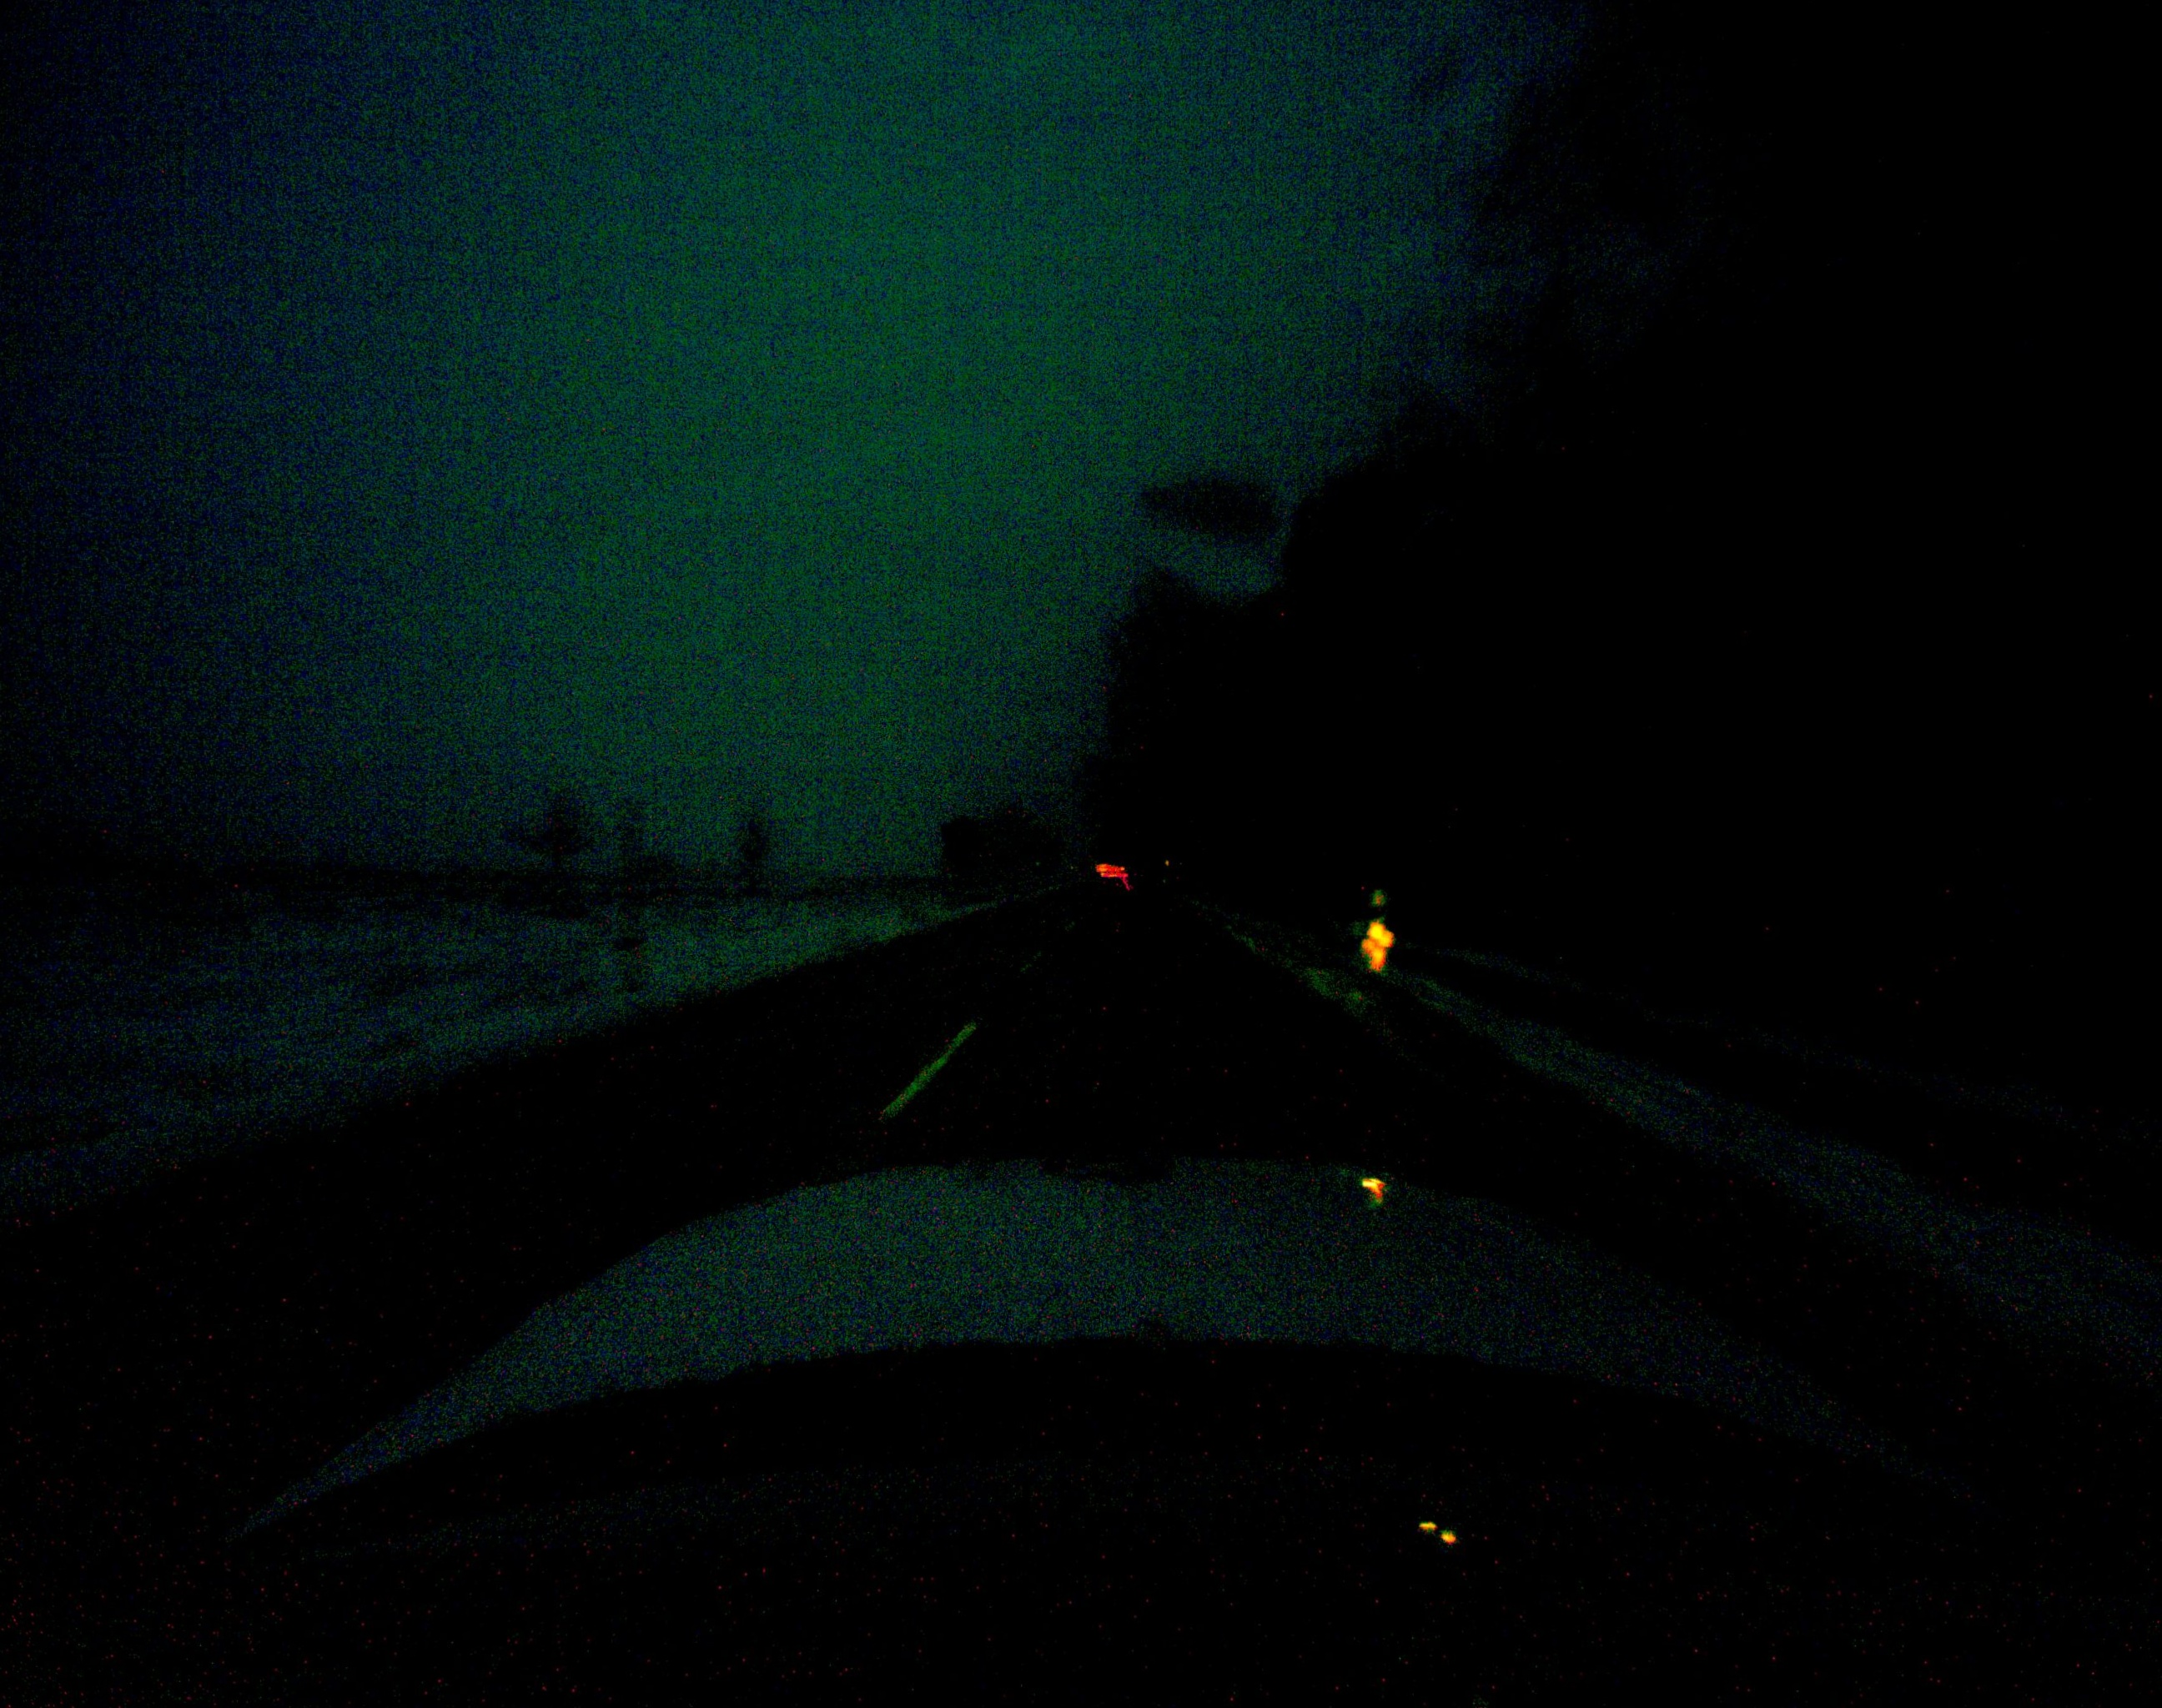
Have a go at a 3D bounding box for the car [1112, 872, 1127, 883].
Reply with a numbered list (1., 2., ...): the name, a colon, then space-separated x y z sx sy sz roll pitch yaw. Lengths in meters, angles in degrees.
1. car: 5.554 3.337 117.929 1.986 1.420 4.001 -2 -1 1
